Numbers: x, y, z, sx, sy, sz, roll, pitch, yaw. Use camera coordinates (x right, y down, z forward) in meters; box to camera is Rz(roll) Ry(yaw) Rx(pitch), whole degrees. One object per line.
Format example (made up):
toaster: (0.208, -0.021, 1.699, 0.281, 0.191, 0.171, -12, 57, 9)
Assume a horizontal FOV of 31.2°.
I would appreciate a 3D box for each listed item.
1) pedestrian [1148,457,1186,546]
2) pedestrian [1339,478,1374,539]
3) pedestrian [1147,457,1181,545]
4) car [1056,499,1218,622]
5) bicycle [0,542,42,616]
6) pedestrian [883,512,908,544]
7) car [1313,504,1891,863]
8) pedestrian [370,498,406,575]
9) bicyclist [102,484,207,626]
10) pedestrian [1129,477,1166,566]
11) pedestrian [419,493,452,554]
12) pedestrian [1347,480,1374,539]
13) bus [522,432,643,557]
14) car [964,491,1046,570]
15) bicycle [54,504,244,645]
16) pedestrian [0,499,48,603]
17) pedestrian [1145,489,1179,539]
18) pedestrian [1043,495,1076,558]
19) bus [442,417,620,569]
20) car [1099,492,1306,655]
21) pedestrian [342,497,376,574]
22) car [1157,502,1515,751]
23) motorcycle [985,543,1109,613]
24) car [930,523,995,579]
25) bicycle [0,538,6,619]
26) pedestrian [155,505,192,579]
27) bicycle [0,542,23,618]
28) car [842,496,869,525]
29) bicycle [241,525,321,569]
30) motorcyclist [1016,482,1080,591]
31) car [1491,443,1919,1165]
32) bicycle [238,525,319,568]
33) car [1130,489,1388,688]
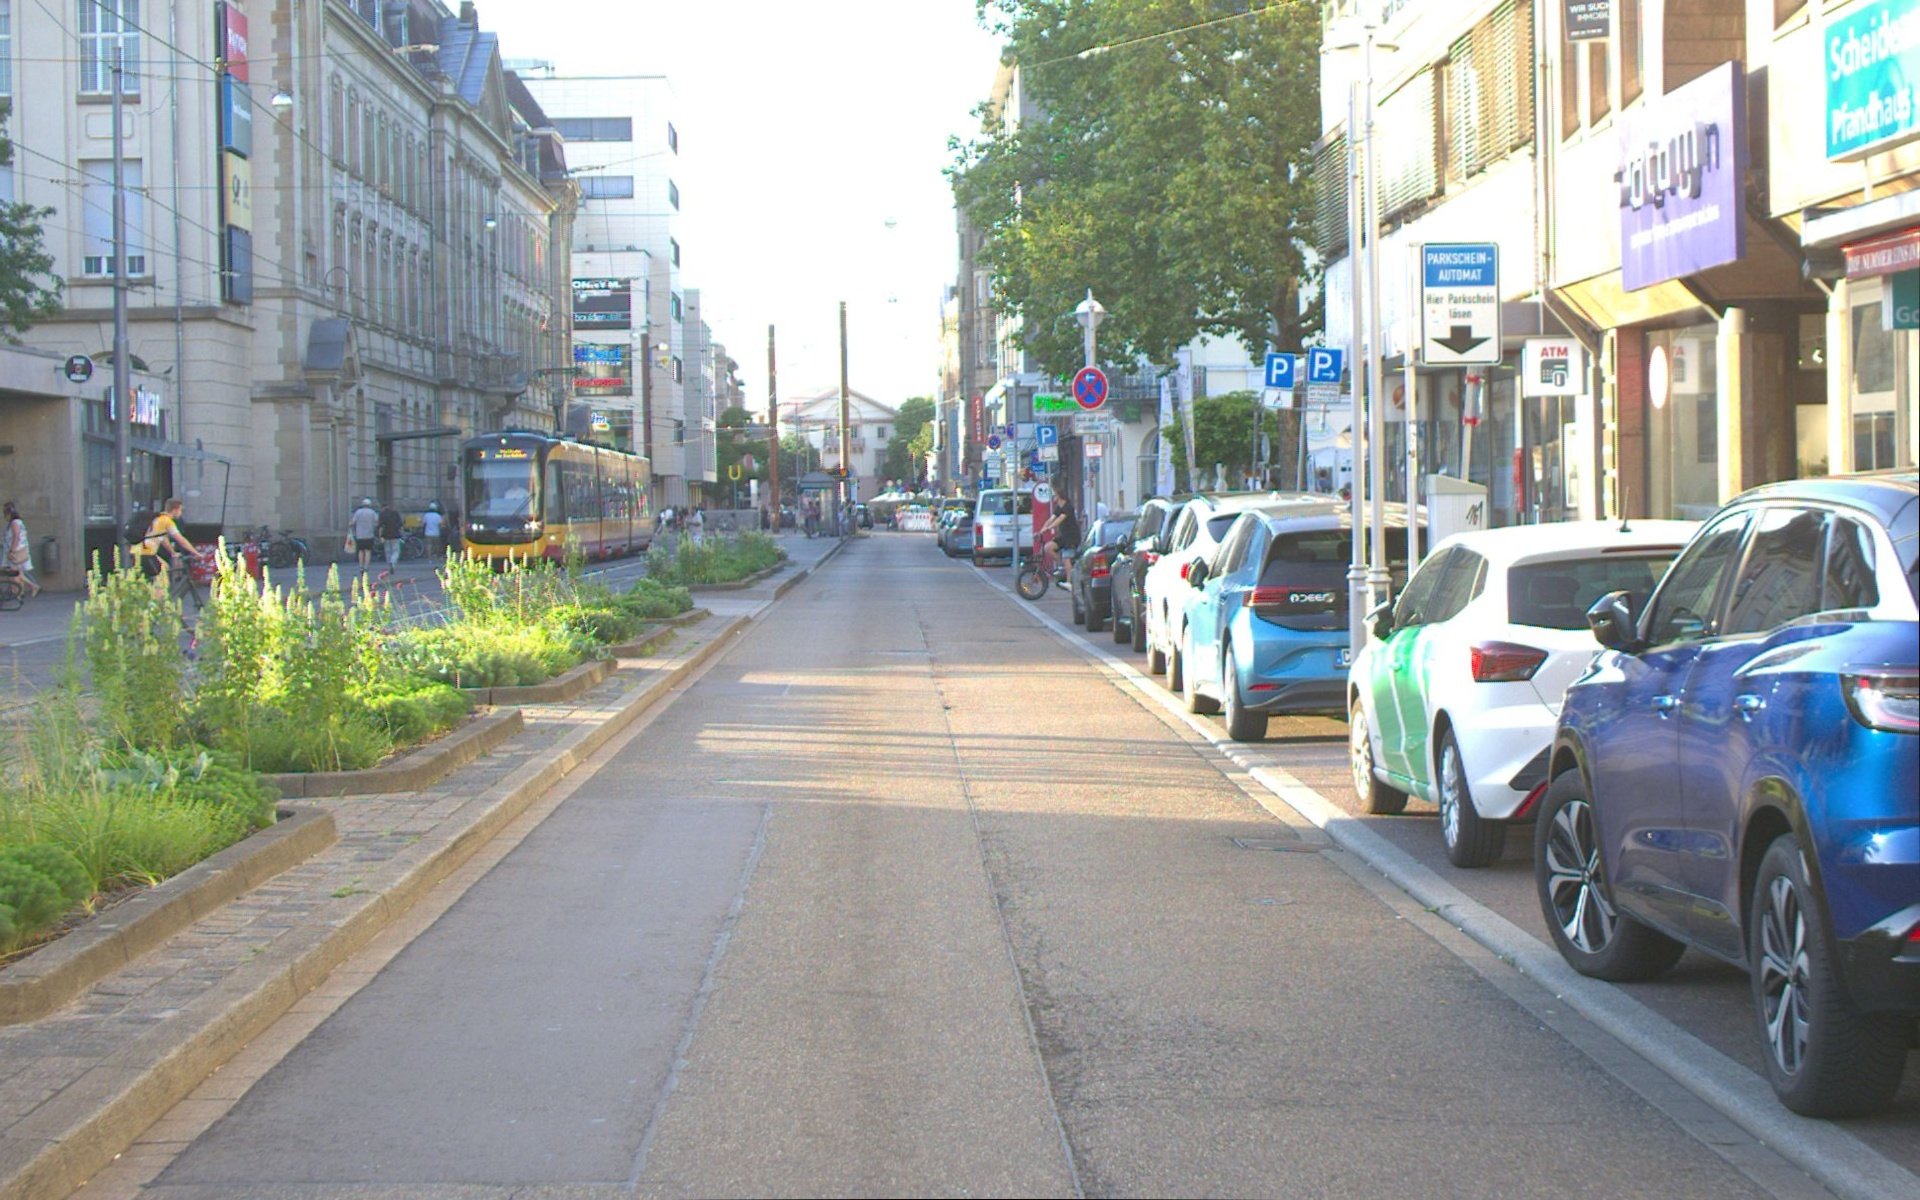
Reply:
pedestrian: (4.037, -1.924, 67.087, 0.678, 1.711, 0.654, -1, 0, 1)
pedestrian: (8.600, -1.985, 74.551, 0.645, 1.280, 0.740, -1, 0, 15)
pedestrian: (4.021, -1.948, 67.756, 0.614, 1.711, 0.662, -1, 0, 1)
car: (2.213, -0.538, 43.924, 1.655, 1.375, 4.341, -4, 2, -1)
bicycle: (-16.735, -0.342, 58.153, 2.241, 1.227, 0.585, -1, 1, -1)
pedestrian: (-3.811, -4.269, 203.671, 1.229, 1.922, 1.022, -1, 1, -17)
car: (2.839, 0.329, 16.111, 1.730, 1.430, 4.153, -1, 0, -3)
pedestrian: (-13.844, -1.530, 83.245, 0.733, 1.834, 0.715, -1, 0, -1)
bicyclist: (-10.229, -0.572, 43.650, 0.930, 1.770, 0.970, -1, 1, -45)
pedestrian: (3.862, -1.616, 70.854, 0.714, 1.797, 0.824, -2, 1, 2)
pedestrian: (-14.923, -2.164, 97.829, 0.814, 1.701, 0.762, -1, 0, -1)
pedestrian: (8.877, -1.998, 76.219, 0.477, 1.280, 0.525, -1, 0, 16)
bus: (-11.427, -3.232, 104.662, 2.822, 3.612, 8.290, -1, 2, -1)
car: (1.137, -1.793, 88.634, 1.915, 1.975, 4.421, -1, 1, -1)
bicycle: (-10.277, -0.346, 43.635, 2.362, 1.734, 0.602, -2, 2, -45)
pedestrian: (-17.618, -0.918, 64.584, 0.724, 1.927, 0.792, -1, 0, 2)
pedestrian: (5.436, -2.308, 92.472, 0.822, 1.301, 0.870, -1, 0, -2)
pedestrian: (2.834, -2.094, 97.815, 0.786, 1.745, 0.895, -1, 0, -8)
bus: (-11.248, -2.835, 91.972, 2.822, 3.638, 17.075, -1, 2, -1)
car: (2.560, -0.341, 37.193, 1.775, 1.533, 4.579, -1, 3, -2)
pedestrian: (-14.574, -1.566, 83.388, 0.693, 1.841, 0.662, -1, 0, -1)
car: (2.521, 0.101, 24.188, 1.809, 1.546, 4.837, -1, 2, -2)
motorcycle: (1.465, -0.367, 57.842, 2.044, 1.119, 0.568, -1, 0, 4)
car: (0.061, -1.632, 113.445, 1.993, 1.755, 4.421, -1, 1, -1)
bicycle: (-16.446, -0.332, 54.955, 2.197, 1.296, 0.580, -1, 0, -1)
pedestrian: (-17.675, -1.308, 77.231, 0.714, 1.640, 0.660, 0, 1, -23)
bicycle: (-16.602, -0.307, 56.480, 2.241, 1.250, 0.580, -1, 0, -1)
car: (-7.136, -6.132, 235.235, 1.760, 1.821, 3.570, -1, 0, -1)
bicycle: (-18.585, -1.450, 94.105, 2.077, 1.144, 0.575, -1, 0, -6)
motorcyclist: (1.484, -1.060, 57.825, 1.002, 1.807, 0.959, -1, 0, 4)
car: (2.790, 0.381, 9.778, 1.765, 1.599, 4.288, -1, 2, -2)
bicycle: (-18.506, -1.451, 93.440, 2.096, 1.144, 0.575, -1, 0, -6)
car: (2.517, -0.163, 29.968, 1.816, 1.580, 4.723, -1, 2, 0)
